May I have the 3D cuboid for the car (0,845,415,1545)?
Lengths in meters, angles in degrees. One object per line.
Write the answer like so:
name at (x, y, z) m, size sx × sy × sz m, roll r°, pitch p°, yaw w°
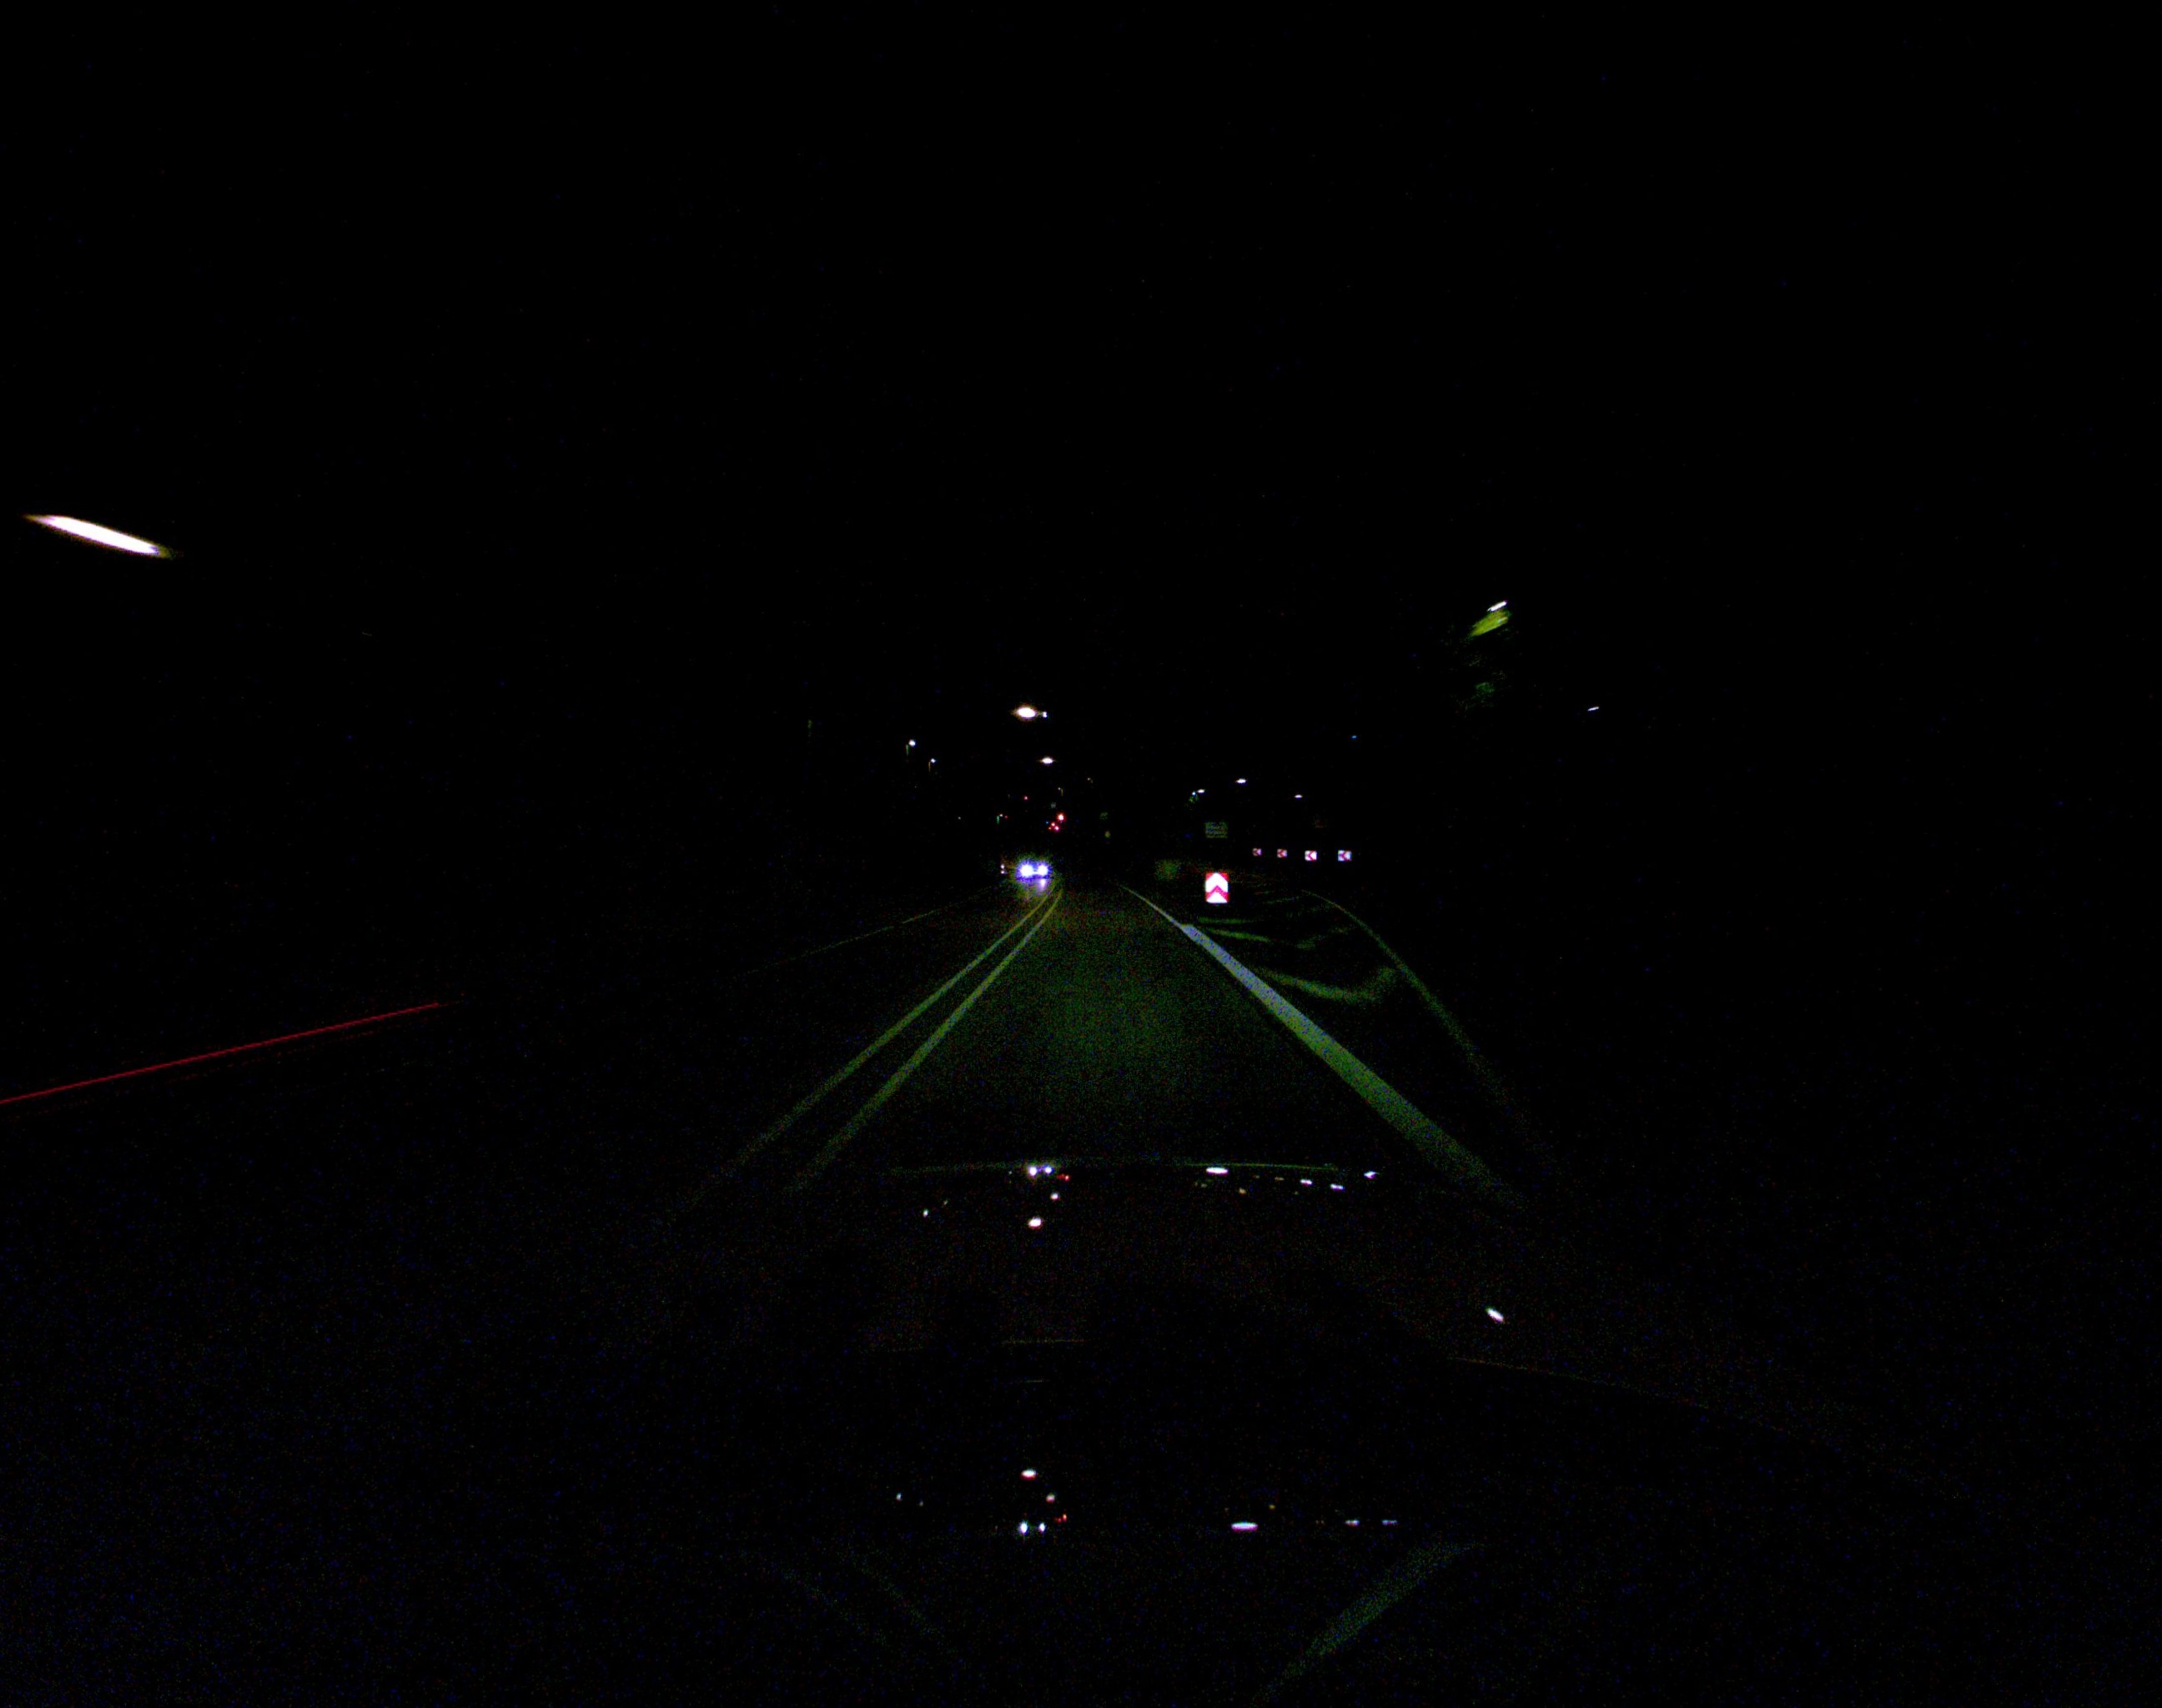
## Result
car at (-3.364, 0.759, 0.824) m, size 1.875 × 1.554 × 4.217 m, roll -1°, pitch -1°, yaw 0°

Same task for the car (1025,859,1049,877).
car at (-3.671, 1.178, 68.028) m, size 1.782 × 1.447 × 4.170 m, roll 0°, pitch -1°, yaw -1°
